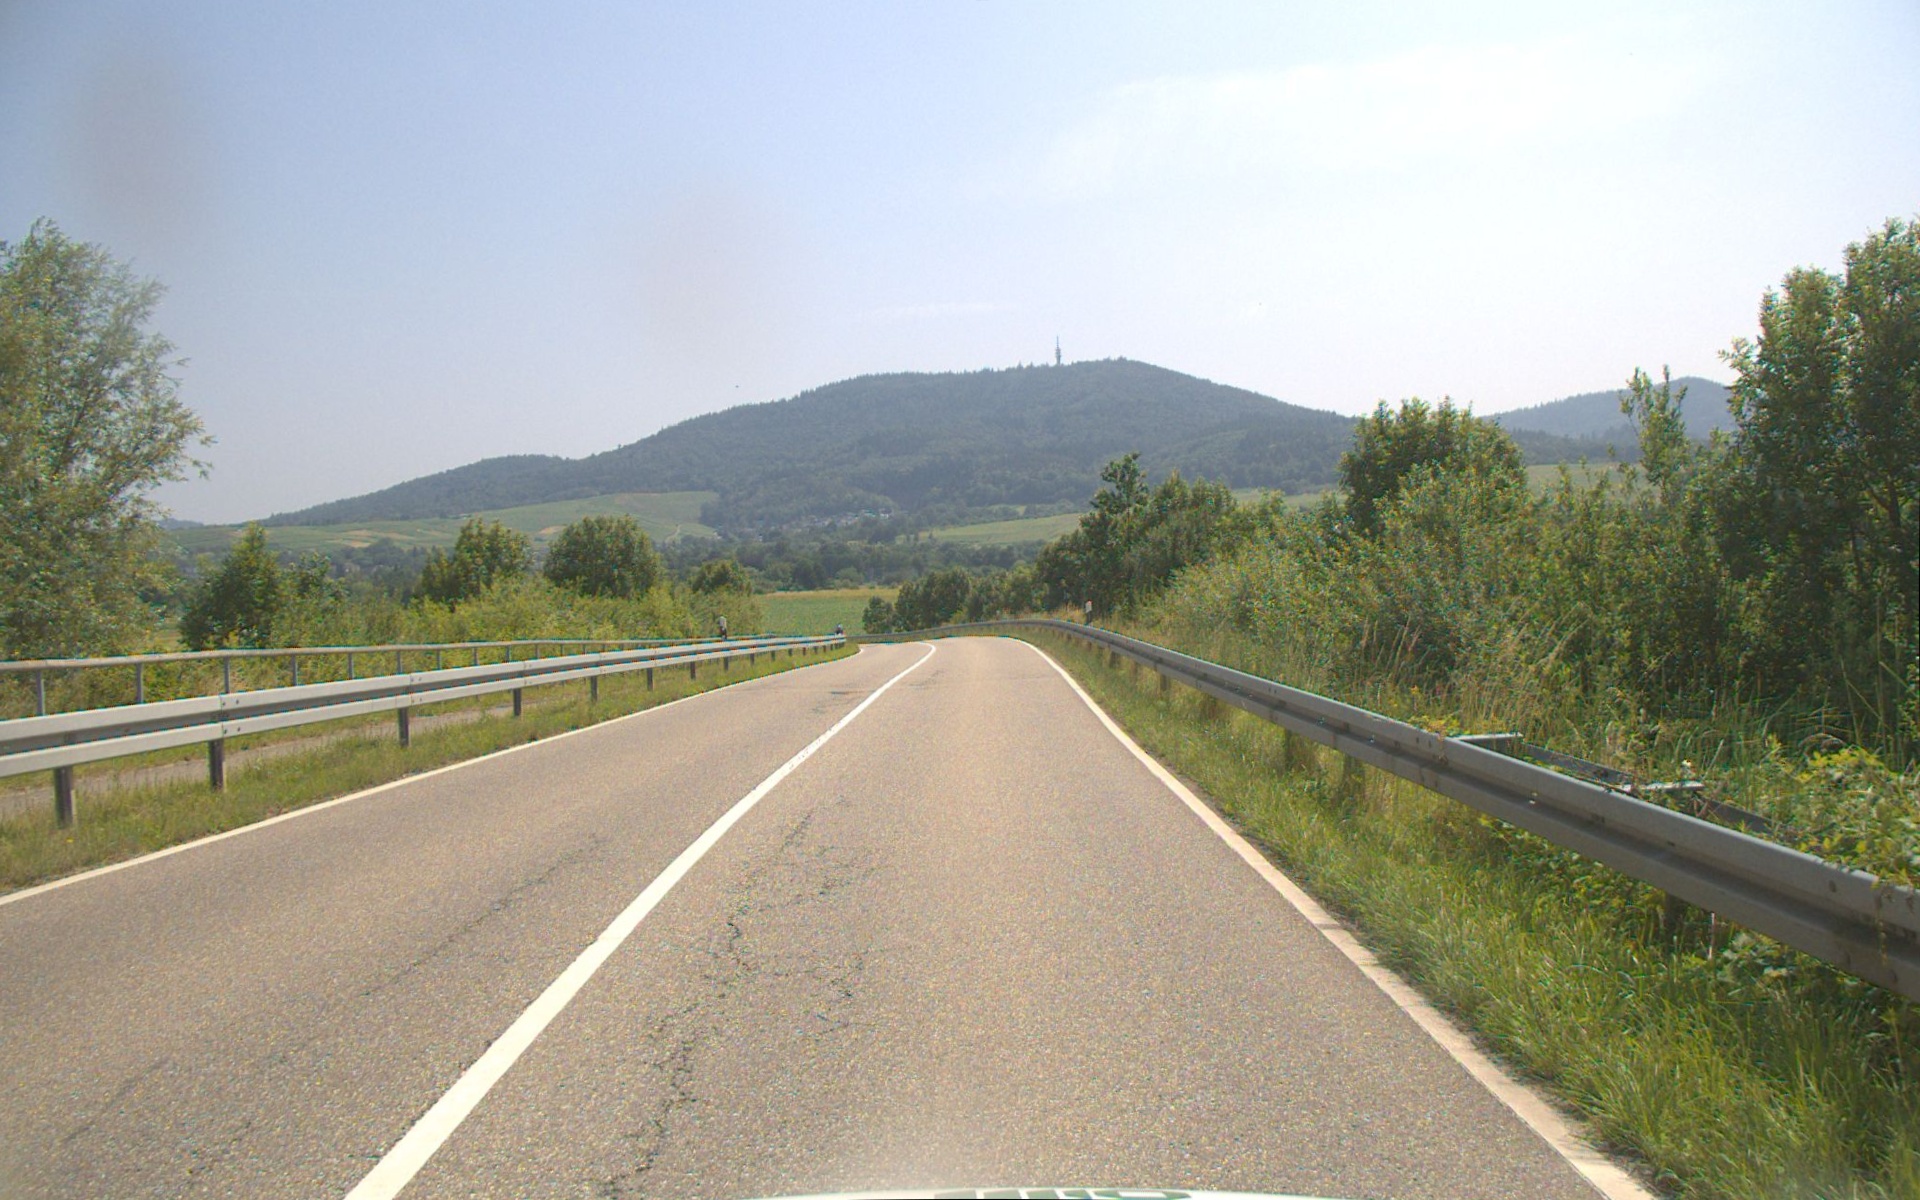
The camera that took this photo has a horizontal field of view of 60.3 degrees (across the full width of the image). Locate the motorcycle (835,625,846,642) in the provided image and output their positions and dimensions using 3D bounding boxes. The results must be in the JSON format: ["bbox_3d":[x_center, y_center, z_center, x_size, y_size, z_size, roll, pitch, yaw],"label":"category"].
[{"bbox_3d":[-8.942,2.515,123.652,0.631,1.244,1.636,-5,-1,-5],"label":"motorcycle"}]
